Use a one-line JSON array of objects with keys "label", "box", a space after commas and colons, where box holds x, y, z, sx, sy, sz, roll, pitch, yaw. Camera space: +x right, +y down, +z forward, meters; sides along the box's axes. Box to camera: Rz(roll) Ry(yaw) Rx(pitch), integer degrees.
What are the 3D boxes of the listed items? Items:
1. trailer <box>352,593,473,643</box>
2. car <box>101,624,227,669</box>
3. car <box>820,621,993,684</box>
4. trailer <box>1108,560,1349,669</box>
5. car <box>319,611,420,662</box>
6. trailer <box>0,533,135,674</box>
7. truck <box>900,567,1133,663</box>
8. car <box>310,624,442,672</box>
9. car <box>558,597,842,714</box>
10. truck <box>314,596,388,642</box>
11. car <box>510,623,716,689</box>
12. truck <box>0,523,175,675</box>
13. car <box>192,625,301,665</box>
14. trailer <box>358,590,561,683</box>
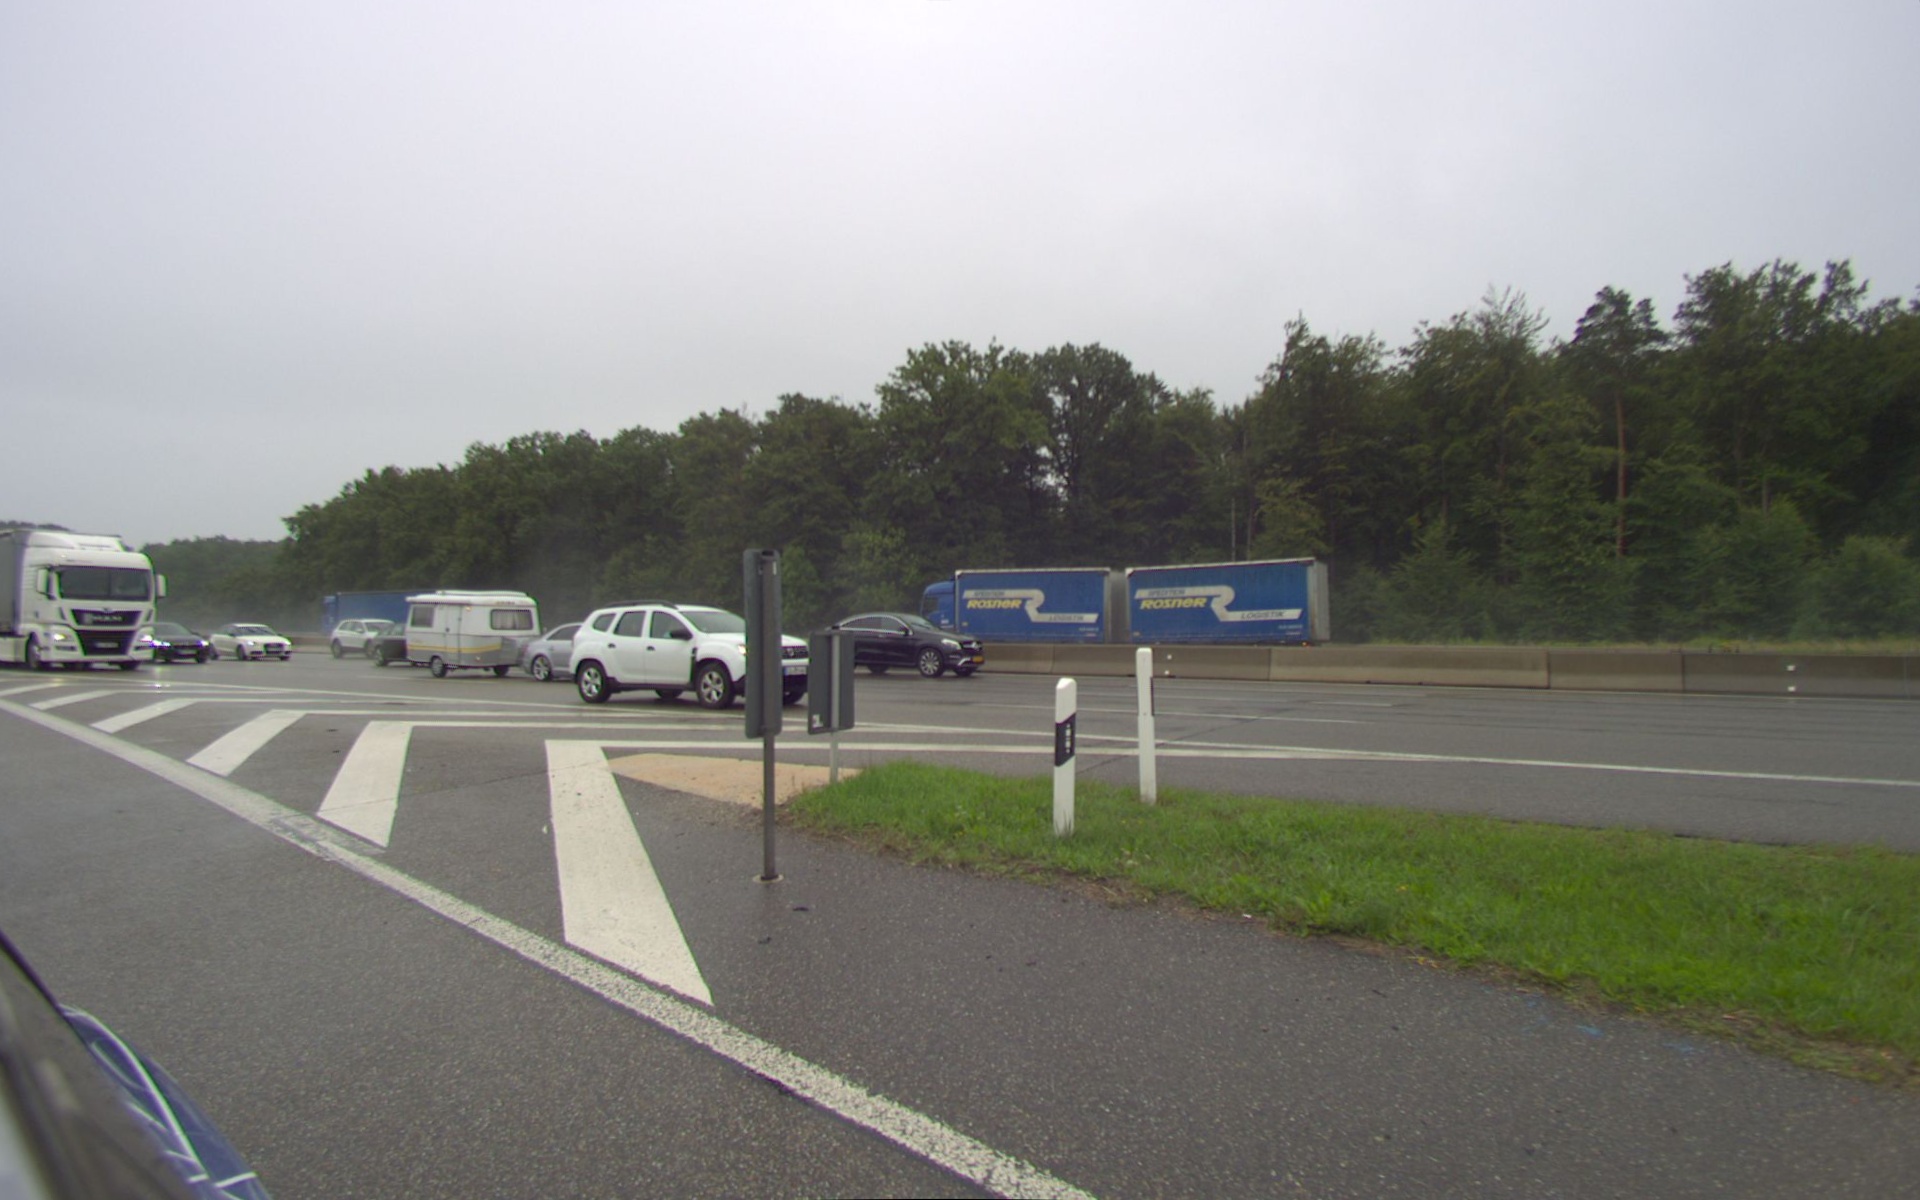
[{"label": "trailer", "box": [-39.979, 1.322, 73.681, 11.364, 3.443, 2.710, -1, -1, 33]}, {"label": "car", "box": [-28.285, 1.620, 35.936, 4.482, 1.492, 1.868, -1, -2, 28]}, {"label": "car", "box": [-1.479, 1.401, 27.303, 4.509, 1.587, 1.692, -1, -3, 31]}, {"label": "trailer", "box": [10.979, 0.527, 41.787, 9.131, 4.076, 3.069, 0, 2, 31]}, {"label": "car", "box": [-24.934, 1.531, 42.703, 3.984, 2.029, 1.922, -2, 0, 30]}, {"label": "trailer", "box": [-32.131, 0.291, 33.626, 14.070, 4.013, 2.873, -1, -3, 32]}, {"label": "truck", "box": [2.471, 0.613, 46.853, 10.519, 4.009, 3.040, 0, 2, 31]}, {"label": "car", "box": [-19.981, 1.609, 34.582, 4.513, 1.552, 1.978, -1, -3, 32]}, {"label": "car", "box": [-4.091, 0.846, 15.762, 4.307, 1.598, 1.773, -2, -3, 31]}, {"label": "truck", "box": [-47.143, 1.461, 78.346, 5.694, 3.441, 2.739, -1, -1, 33]}, {"label": "car", "box": [-7.819, 1.234, 22.697, 4.564, 1.358, 1.832, -1, -3, 31]}, {"label": "truck", "box": [-26.301, 0.085, 29.983, 5.914, 4.083, 2.851, -1, -3, 32]}, {"label": "car", "box": [-28.187, 1.761, 39.952, 4.487, 1.492, 1.866, -1, -2, 32]}, {"label": "trailer", "box": [-12.766, 0.953, 25.741, 5.159, 2.172, 2.114, -1, -3, 31]}]
